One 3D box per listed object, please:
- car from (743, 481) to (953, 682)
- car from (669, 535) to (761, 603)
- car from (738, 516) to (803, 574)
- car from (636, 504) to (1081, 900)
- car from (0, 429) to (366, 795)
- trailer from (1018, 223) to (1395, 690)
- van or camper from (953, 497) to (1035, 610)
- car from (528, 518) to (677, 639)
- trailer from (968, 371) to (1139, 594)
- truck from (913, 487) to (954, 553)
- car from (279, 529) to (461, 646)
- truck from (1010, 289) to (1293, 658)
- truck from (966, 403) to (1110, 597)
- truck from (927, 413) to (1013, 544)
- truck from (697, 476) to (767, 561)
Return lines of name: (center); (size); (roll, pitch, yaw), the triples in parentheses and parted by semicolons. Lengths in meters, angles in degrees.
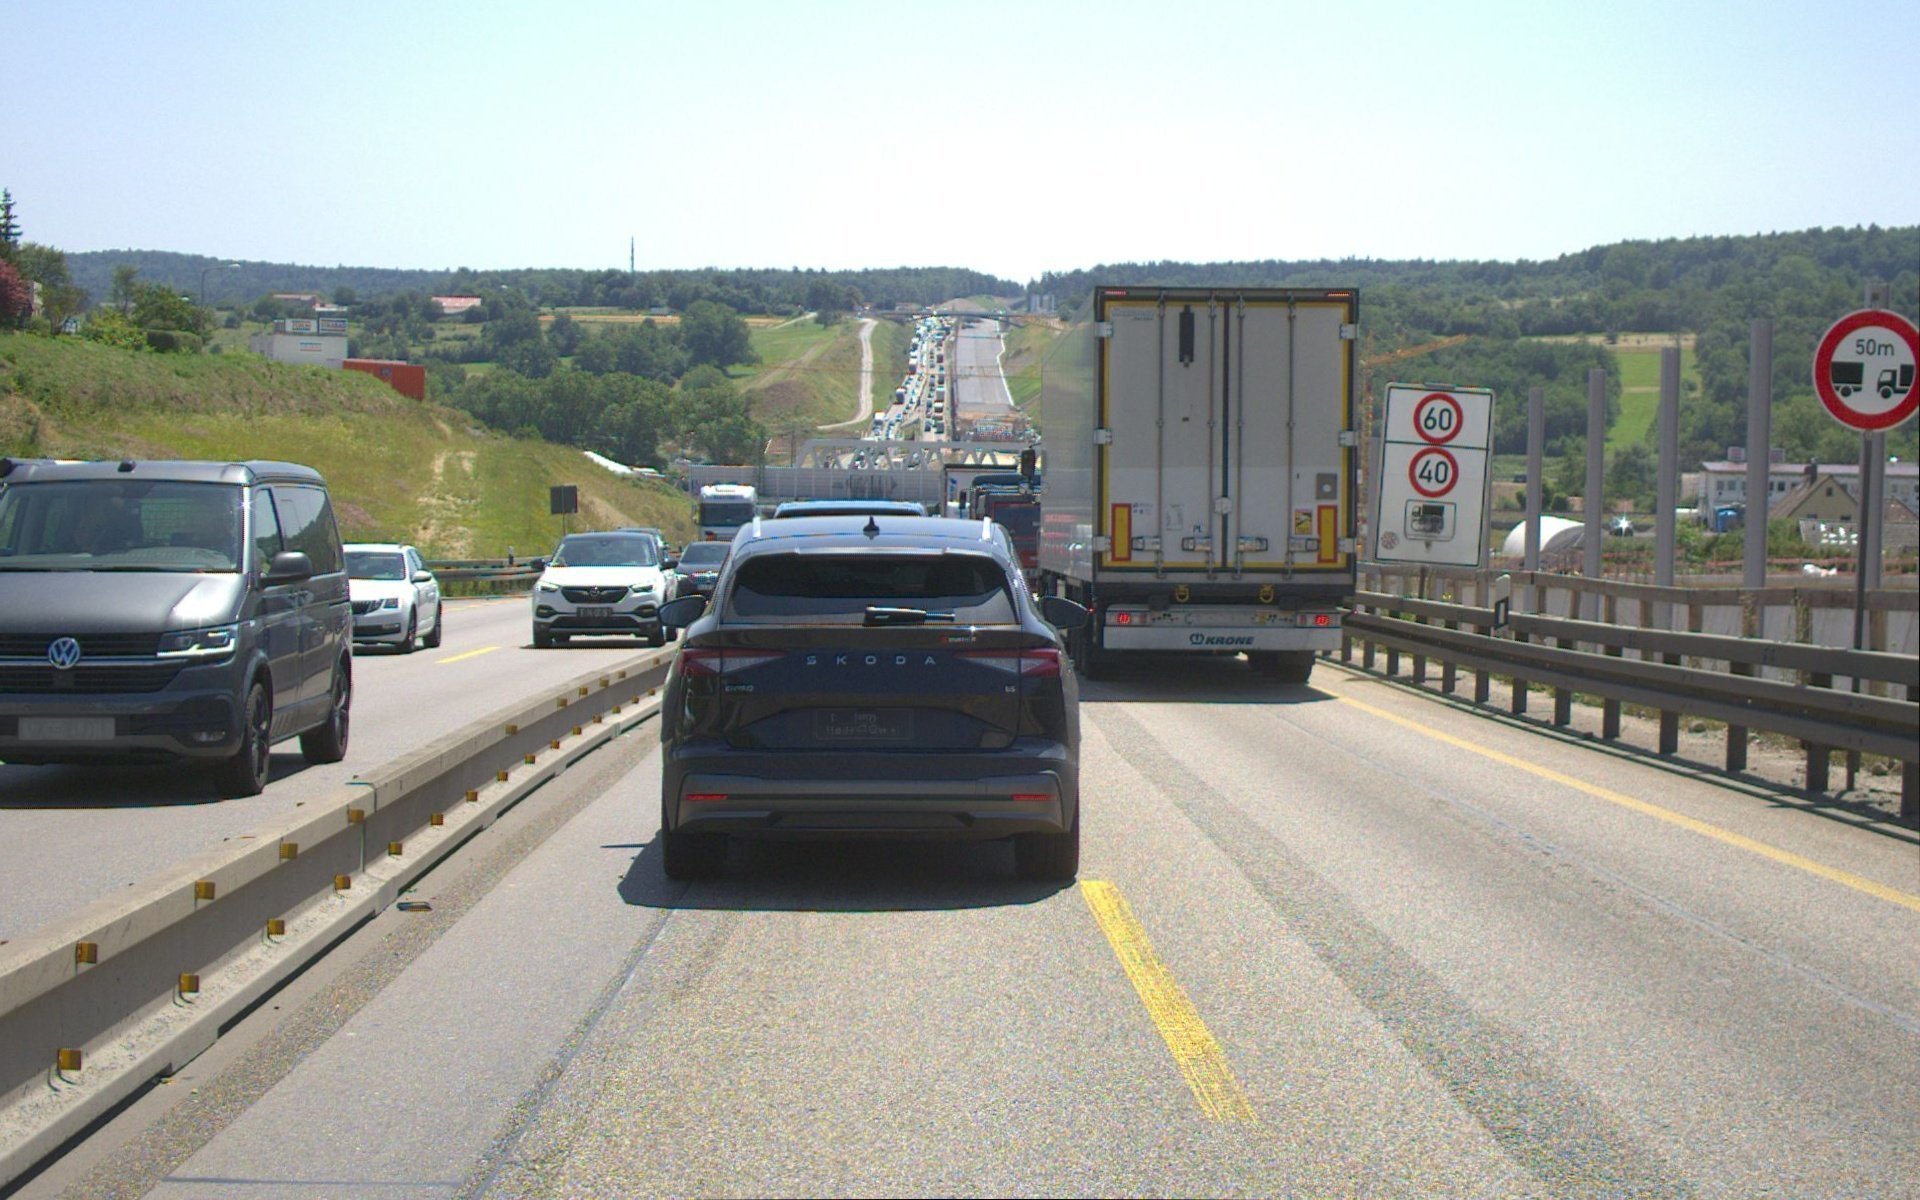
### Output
car: (-1.122, -0.178, 35.243); (1.993, 1.919, 4.508); (0, 0, -1)
car: (-5.456, -0.710, 76.906); (1.798, 1.461, 4.356); (-1, 1, -1)
car: (-5.887, -1.737, 107.308); (1.846, 1.771, 4.882); (0, 1, -1)
car: (-0.423, 0.394, 16.001); (1.802, 1.602, 4.000); (0, 1, 0)
car: (-4.992, 0.024, 21.377); (1.910, 2.007, 4.907); (0, 1, -2)
trailer: (2.502, -1.553, 39.881); (3.180, 4.497, 13.110); (0, 1, -1)
van or camper: (1.055, -1.355, 103.355); (2.389, 3.269, 6.468); (0, 0, 1)
car: (-5.040, -0.334, 48.864); (1.806, 1.634, 4.173); (0, 1, -2)
trailer: (1.918, -2.399, 77.343); (3.180, 4.498, 14.967); (0, 0, -1)
truck: (-1.797, -5.299, 230.594); (2.639, 4.179, 9.284); (0, 0, -1)
car: (-7.928, -0.204, 46.533); (1.804, 1.492, 4.600); (0, 1, -2)
truck: (2.411, -1.656, 46.331); (3.180, 4.497, 8.166); (0, 1, -1)
truck: (1.829, -2.347, 84.487); (3.180, 4.498, 8.166); (0, 0, -1)
truck: (0.290, -4.430, 128.257); (2.852, 4.450, 11.918); (0, 0, -1)
truck: (-9.969, -3.577, 150.976); (2.779, 3.660, 6.278); (0, 1, -1)
